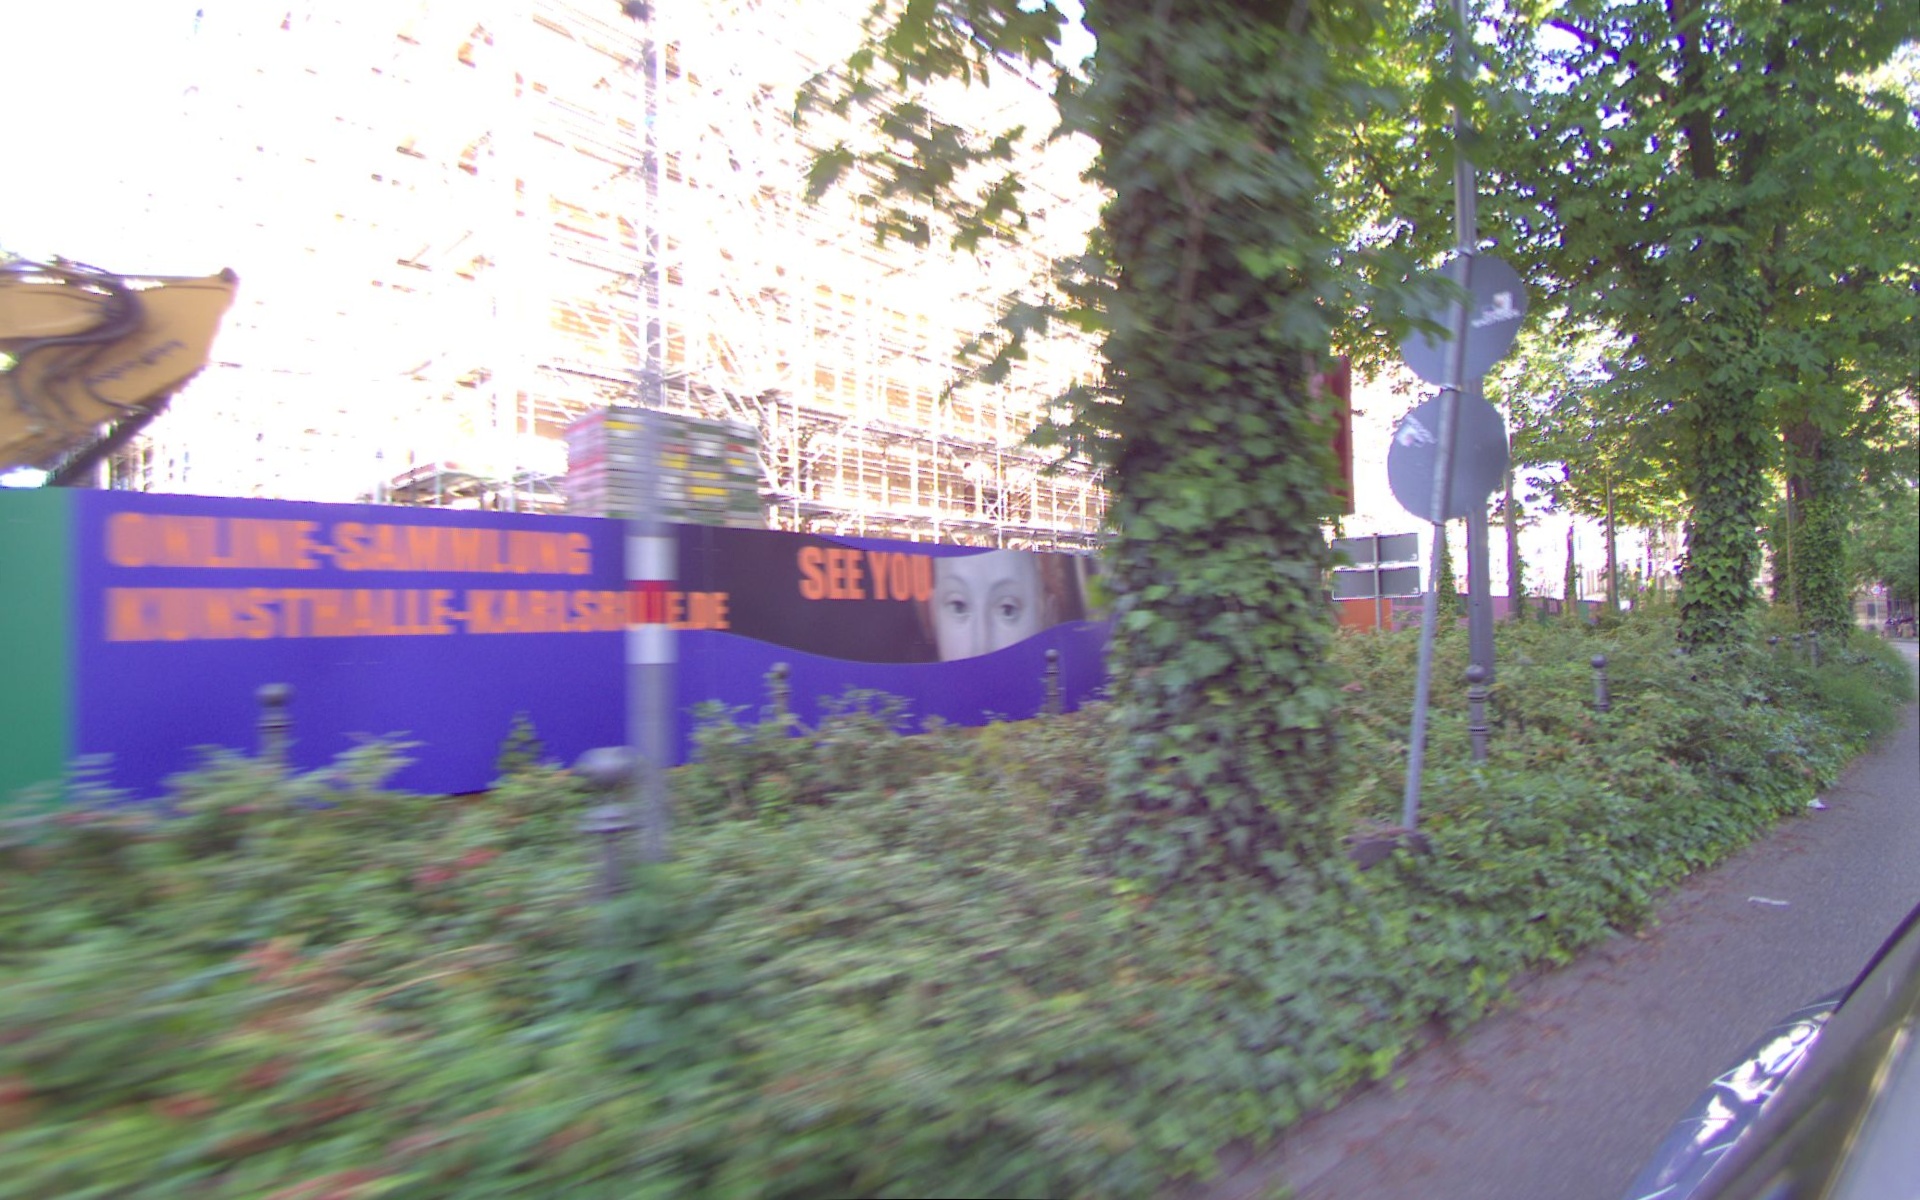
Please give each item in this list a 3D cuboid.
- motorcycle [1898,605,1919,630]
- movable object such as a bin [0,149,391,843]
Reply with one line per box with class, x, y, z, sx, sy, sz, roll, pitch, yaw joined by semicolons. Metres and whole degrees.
motorcycle;52.795;0.968;55.851;0.806;1.334;2.317;-1;-2;24
movable object such as a bin;-8.612;-0.677;6.916;7.766;4.597;3.312;0;-1;-41
